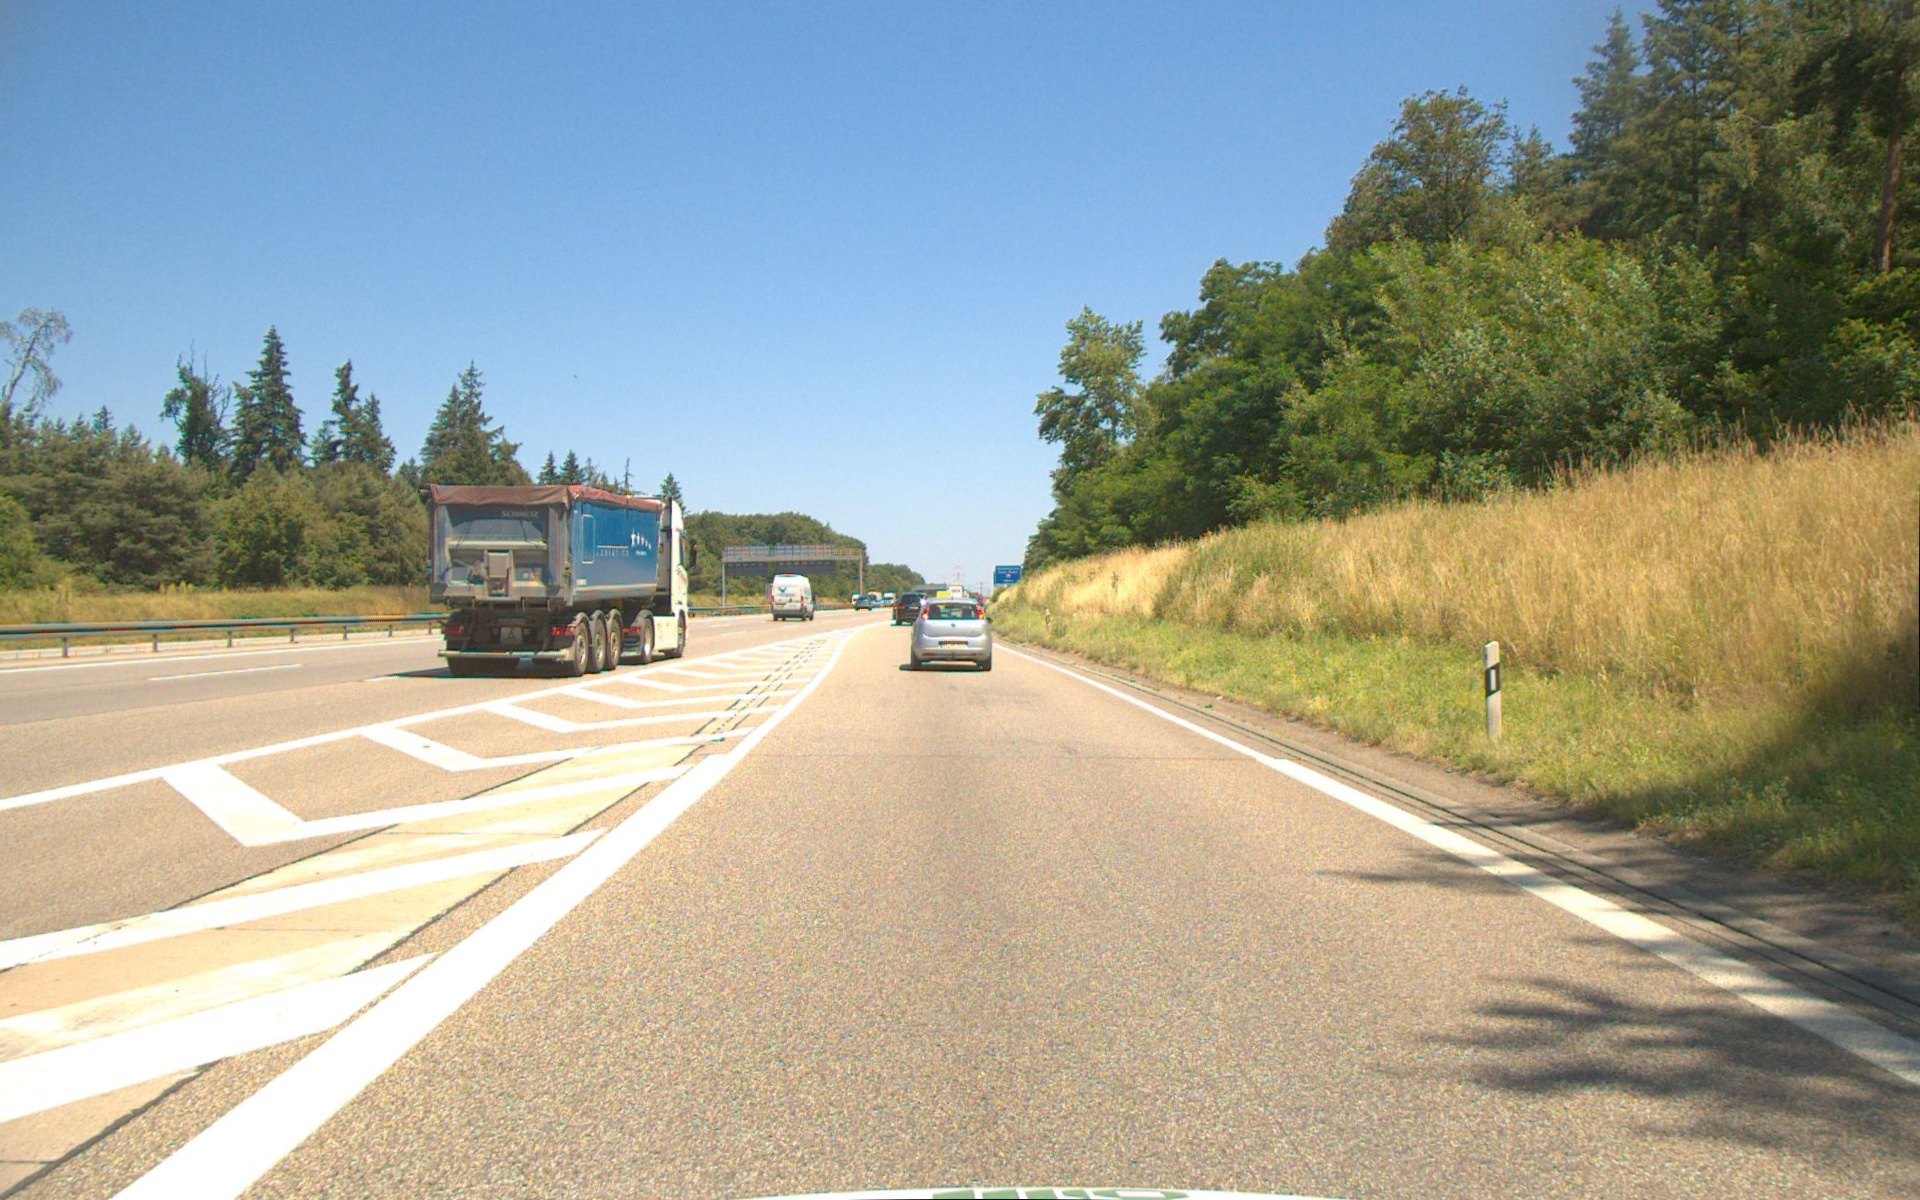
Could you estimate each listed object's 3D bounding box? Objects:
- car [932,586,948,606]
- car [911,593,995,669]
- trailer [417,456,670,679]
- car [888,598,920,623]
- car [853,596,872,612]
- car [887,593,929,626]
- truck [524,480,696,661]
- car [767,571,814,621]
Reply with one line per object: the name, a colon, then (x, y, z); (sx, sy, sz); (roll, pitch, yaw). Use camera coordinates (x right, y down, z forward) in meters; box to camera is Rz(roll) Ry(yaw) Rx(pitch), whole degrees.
car: (-2.140, -0.417, 178.286); (1.578, 2.049, 4.000); (1, 0, 1)
car: (-0.164, 0.614, 35.100); (1.684, 1.517, 3.736); (0, 0, -1)
trailer: (-7.961, -0.582, 33.007); (2.680, 3.824, 9.109); (0, 0, 0)
car: (-3.571, 0.659, 106.402); (1.855, 1.495, 4.261); (1, 0, 0)
car: (-11.712, 0.433, 198.903); (2.113, 1.846, 4.859); (0, 0, -1)
car: (-2.772, 0.534, 89.302); (1.793, 1.701, 4.002); (1, 0, 4)
truck: (-7.903, -0.643, 38.042); (2.629, 3.824, 5.944); (0, 0, 0)
car: (-10.570, -0.254, 103.537); (2.213, 3.002, 6.114); (1, 0, 1)
